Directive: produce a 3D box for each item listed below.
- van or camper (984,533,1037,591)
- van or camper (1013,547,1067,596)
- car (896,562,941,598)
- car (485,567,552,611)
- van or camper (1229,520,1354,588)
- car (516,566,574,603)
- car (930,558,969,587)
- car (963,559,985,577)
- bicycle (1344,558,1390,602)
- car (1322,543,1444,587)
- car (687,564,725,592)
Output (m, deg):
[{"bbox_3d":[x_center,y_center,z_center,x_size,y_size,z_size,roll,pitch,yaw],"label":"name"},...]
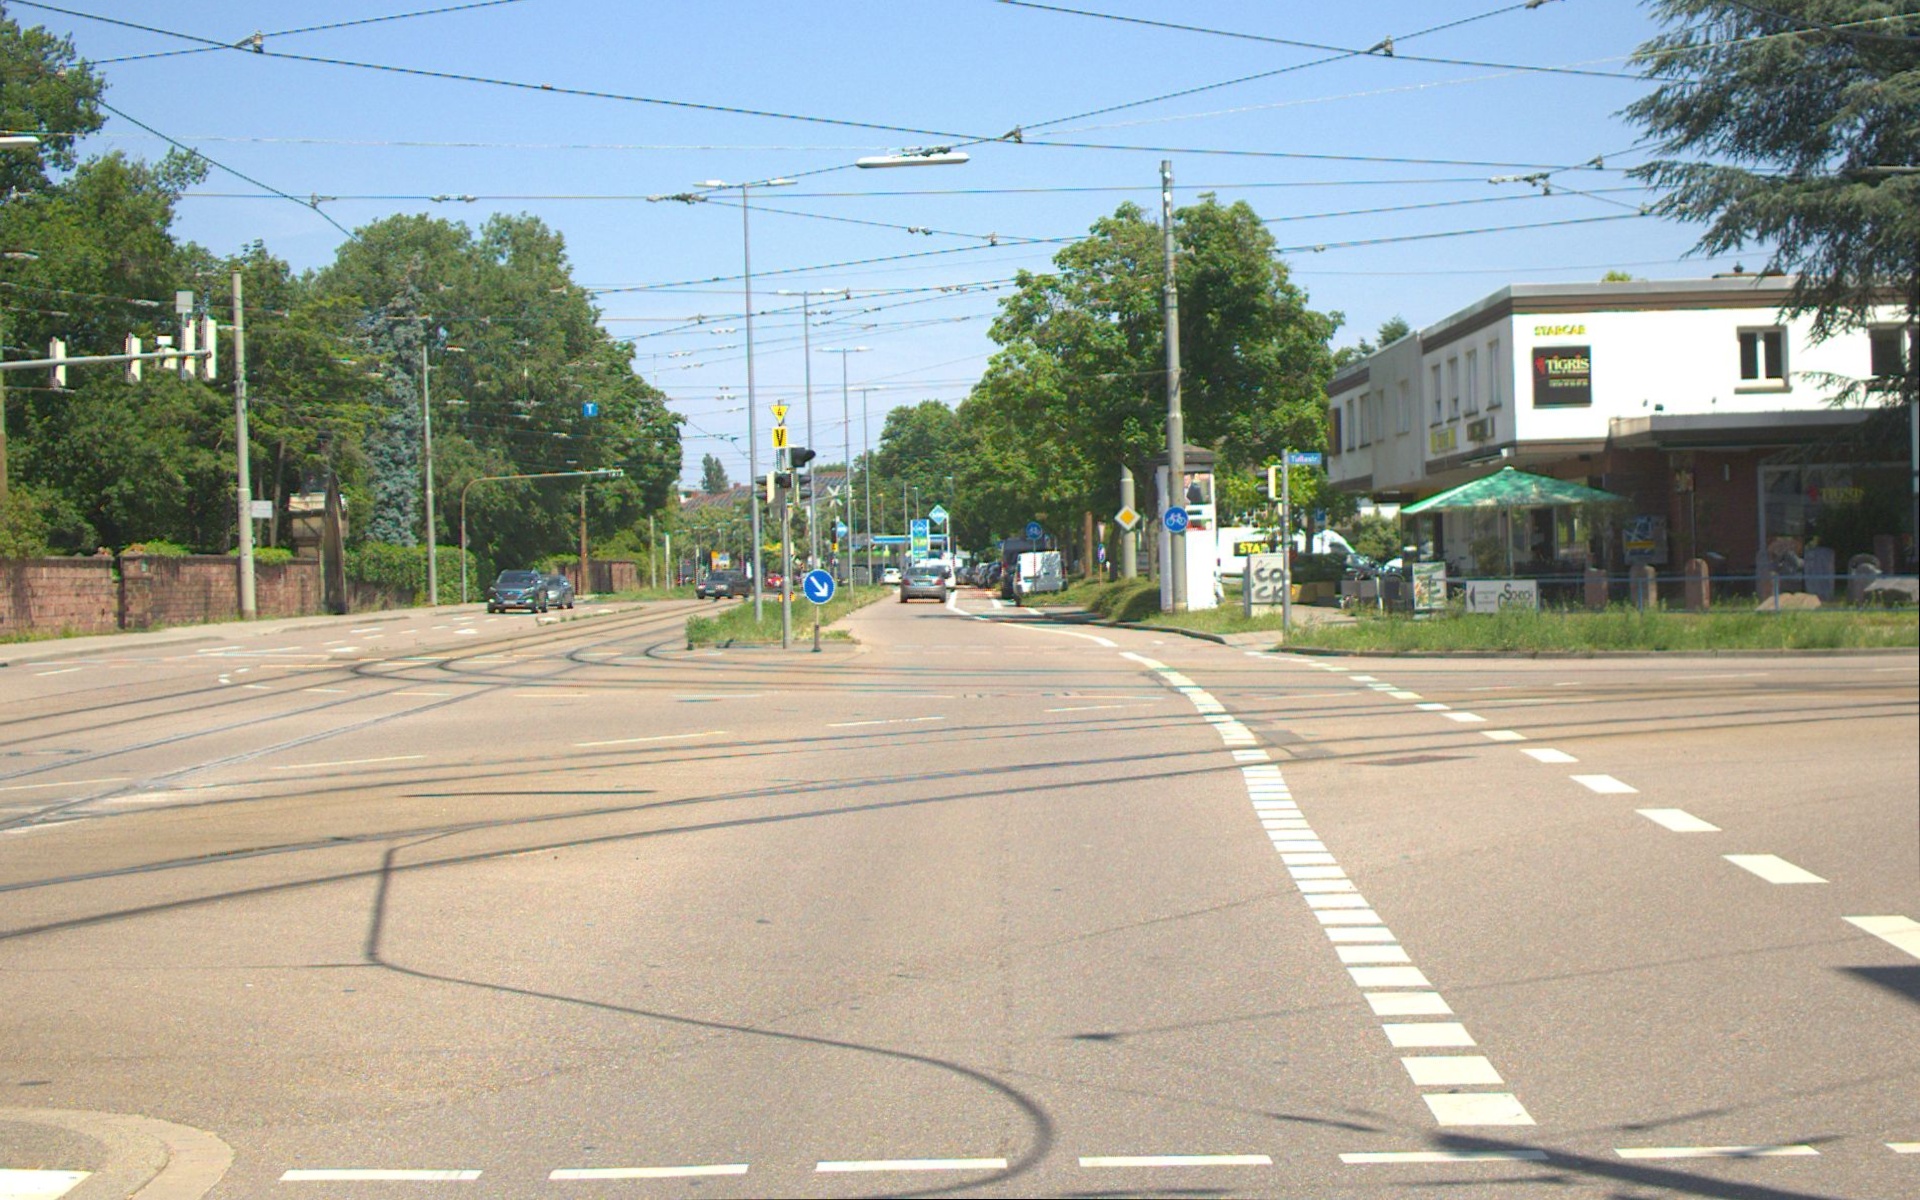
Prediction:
[{"bbox_3d":[2.176,-1.646,149.149,1.993,2.456,4.000,-1,1,-2],"label":"van or camper"},{"bbox_3d":[2.928,-1.065,126.946,1.922,1.766,4.000,-1,1,1],"label":"van or camper"},{"bbox_3d":[-1.651,-0.797,135.122,1.636,1.346,3.842,-1,1,-2],"label":"car"},{"bbox_3d":[-16.722,-0.439,130.293,1.820,1.598,4.520,-1,0,1],"label":"car"},{"bbox_3d":[13.444,-1.868,139.568,4.756,2.662,2.136,-1,1,-1],"label":"van or camper"},{"bbox_3d":[-16.828,-0.634,139.479,1.641,1.416,4.167,-1,1,2],"label":"car"},{"bbox_3d":[-0.563,-1.432,179.373,1.670,1.430,3.475,-1,1,-6],"label":"car"},{"bbox_3d":[1.064,-2.429,262.155,1.523,1.292,3.493,-1,1,-2],"label":"car"},{"bbox_3d":[9.625,-0.480,81.248,1.034,1.011,2.636,-1,1,7],"label":"bicycle"},{"bbox_3d":[13.625,-1.126,110.806,3.606,1.346,1.491,-1,1,-6],"label":"car"},{"bbox_3d":[-12.897,-1.115,174.743,1.641,1.395,4.116,-1,1,-1],"label":"car"}]
